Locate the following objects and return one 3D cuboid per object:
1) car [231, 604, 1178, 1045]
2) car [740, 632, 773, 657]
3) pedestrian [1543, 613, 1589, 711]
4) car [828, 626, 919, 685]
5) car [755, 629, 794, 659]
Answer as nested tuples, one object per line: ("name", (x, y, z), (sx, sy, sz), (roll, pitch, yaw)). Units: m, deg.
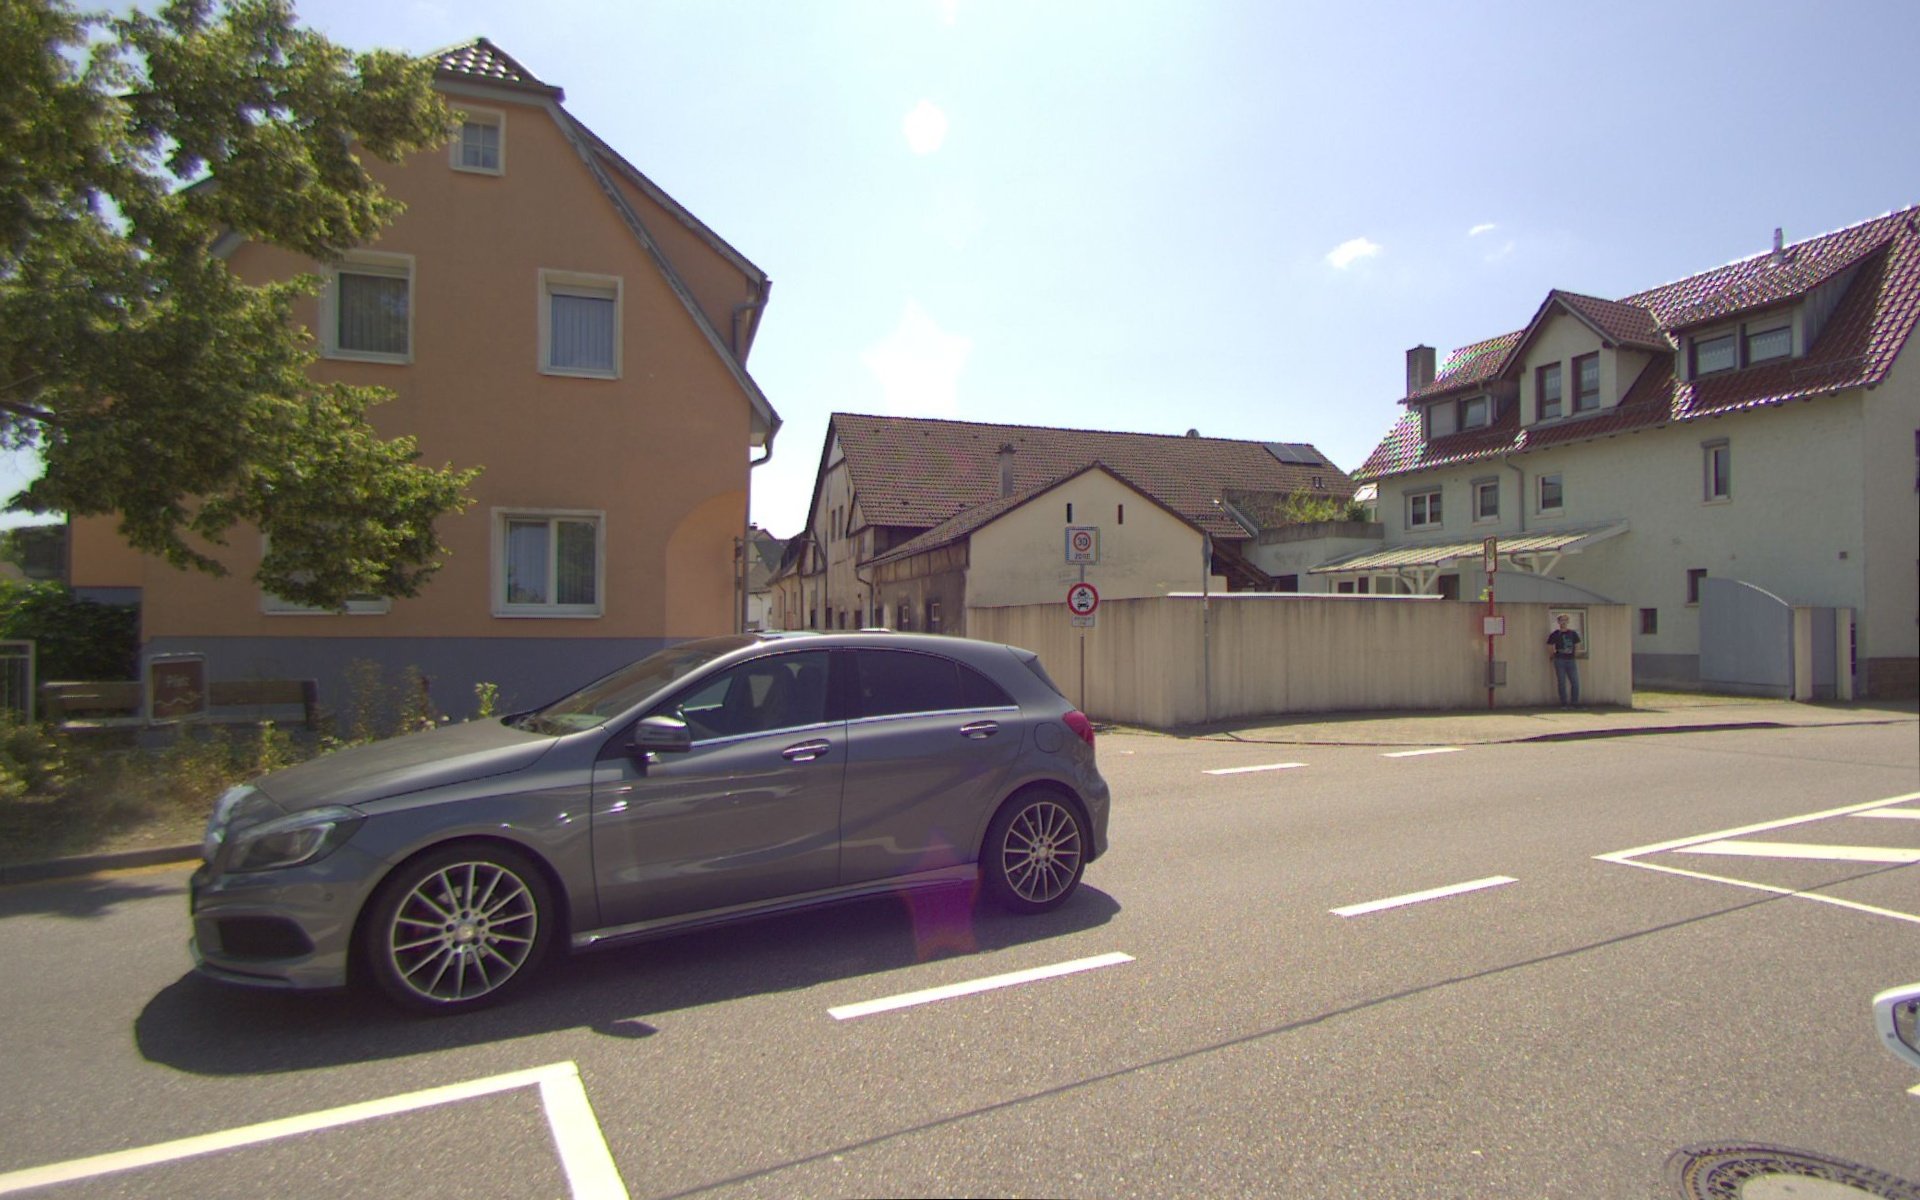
("car", (-1.066, 0.846, 5.217), (4.168, 1.461, 1.855), (2, -3, -30))
("car", (-13.556, 2.942, 66.743), (1.675, 1.483, 3.985), (-2, 0, -17))
("pedestrian", (11.129, 1.129, 18.463), (0.547, 1.788, 0.434), (0, -2, -10))
("car", (-2.555, 1.534, 28.791), (1.780, 1.483, 3.985), (-1, -1, -17))
("car", (-10.458, 2.439, 56.541), (1.675, 1.483, 3.985), (-2, 0, -17))
